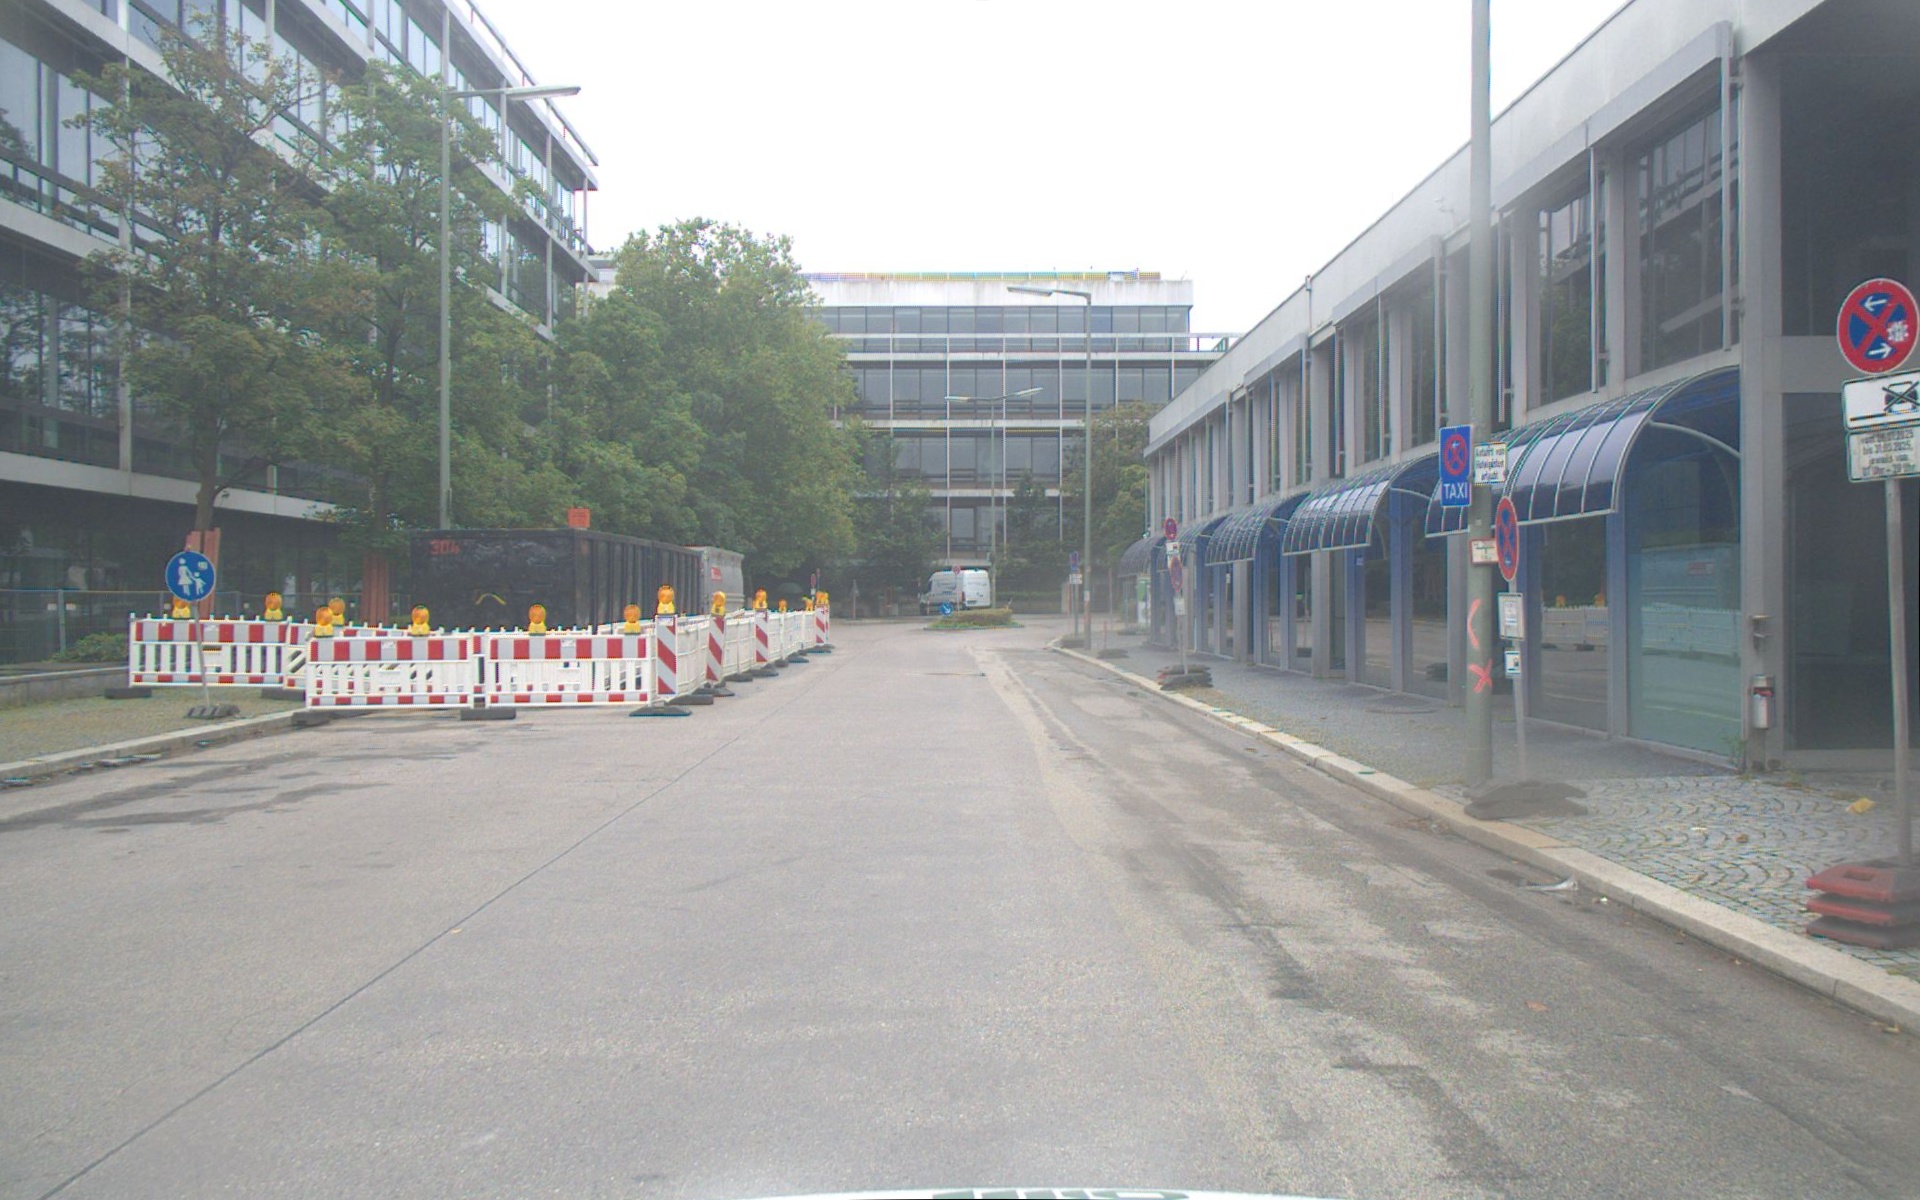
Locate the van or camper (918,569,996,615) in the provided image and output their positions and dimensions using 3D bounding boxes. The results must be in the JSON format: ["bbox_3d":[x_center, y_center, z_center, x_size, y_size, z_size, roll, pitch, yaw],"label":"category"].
[{"bbox_3d":[-0.233,-0.428,99.886,2.129,2.626,6.484,0,-1,-26],"label":"van or camper"}]

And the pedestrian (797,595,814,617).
[{"bbox_3d":[-9.116,0.369,97.606,0.907,1.300,0.542,0,0,1],"label":"pedestrian"}]

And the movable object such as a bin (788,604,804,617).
[{"bbox_3d":[-9.672,0.623,97.562,0.817,0.766,0.572,0,0,2],"label":"movable object such as a bin"}]
